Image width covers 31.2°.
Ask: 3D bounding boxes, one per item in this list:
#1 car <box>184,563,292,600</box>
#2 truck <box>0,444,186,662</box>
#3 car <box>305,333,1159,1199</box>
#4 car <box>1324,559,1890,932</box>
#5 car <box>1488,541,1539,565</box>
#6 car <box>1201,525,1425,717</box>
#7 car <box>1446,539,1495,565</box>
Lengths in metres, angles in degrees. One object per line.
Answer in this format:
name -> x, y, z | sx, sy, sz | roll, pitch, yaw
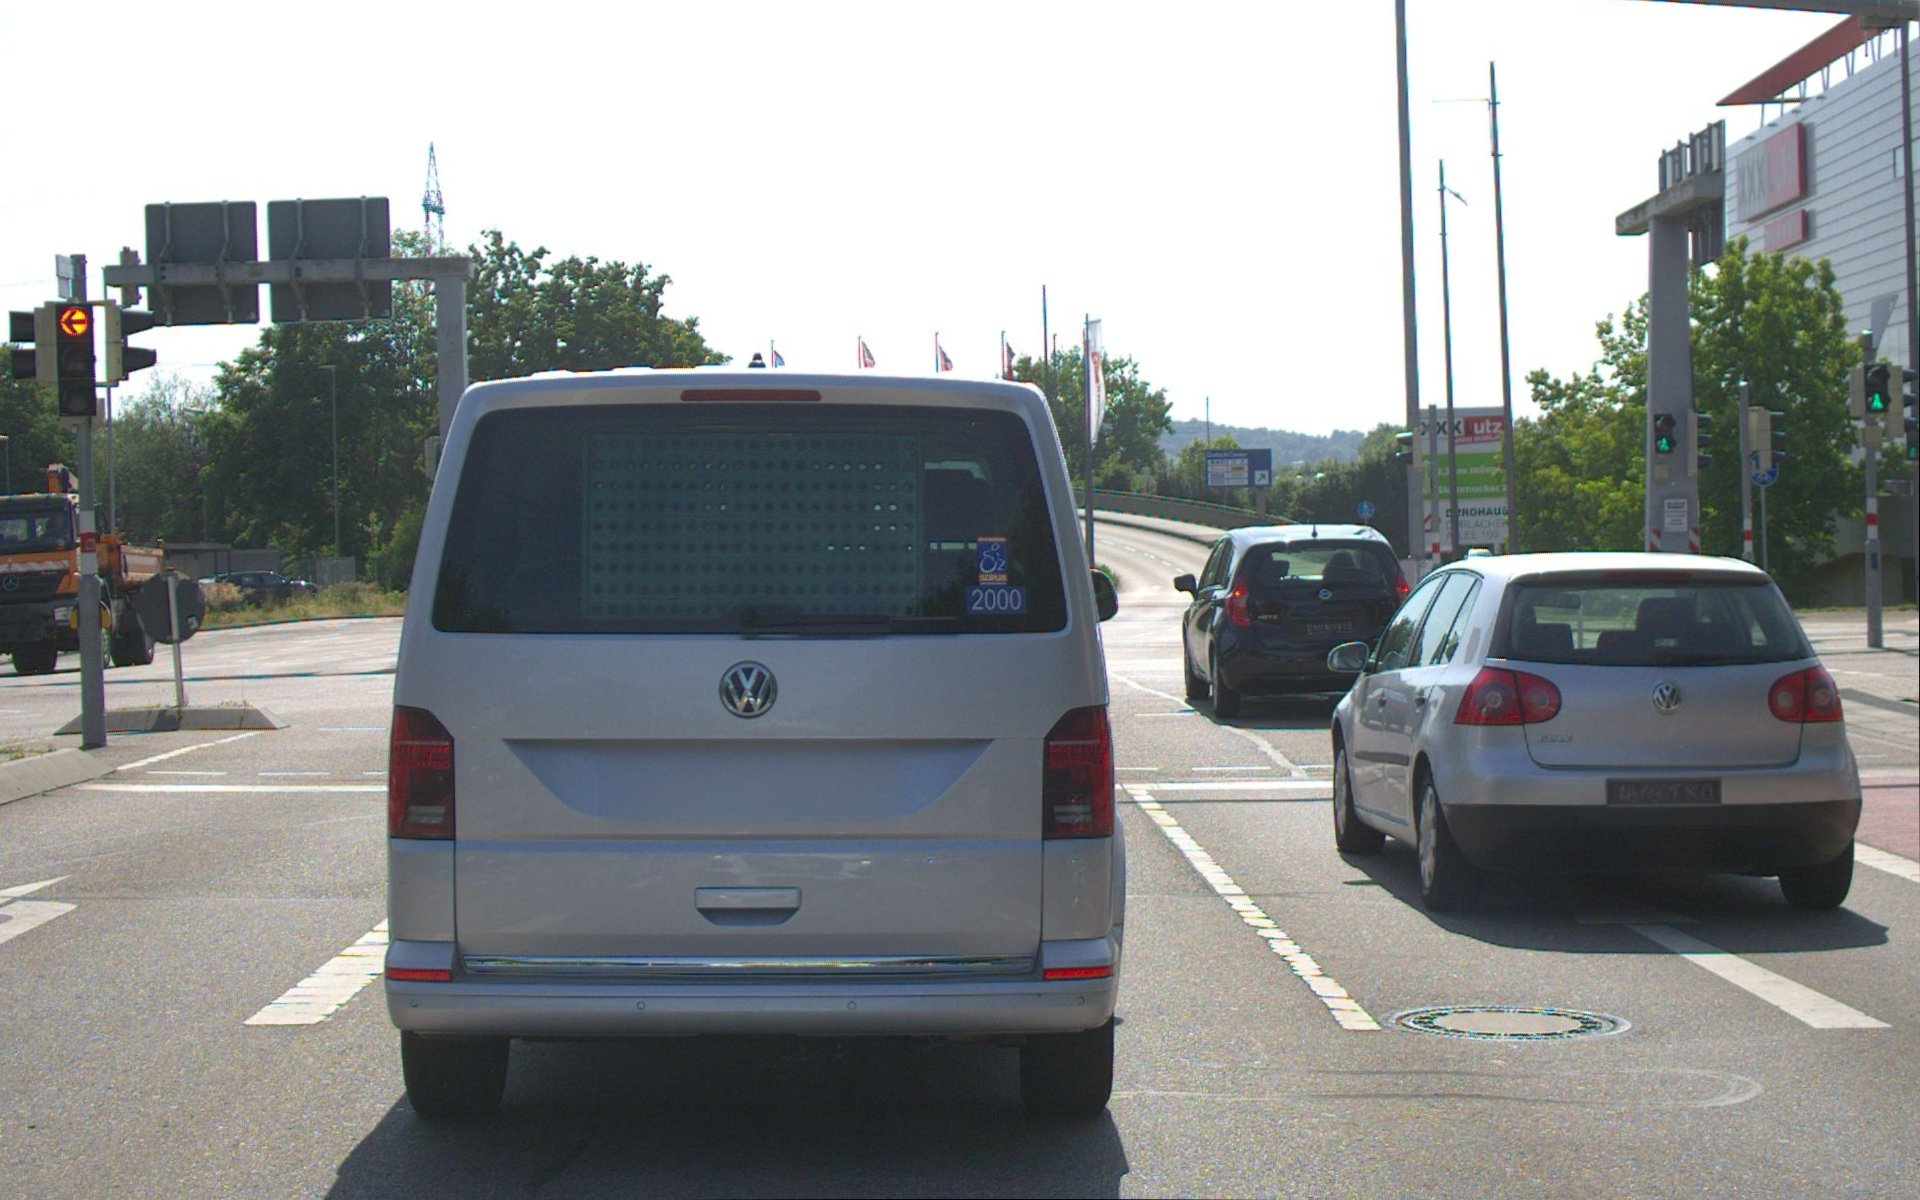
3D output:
car -> -29.502, -0.748, 140.505 | 4.098, 1.415, 1.729 | -1, -1, -19
truck -> -16.277, -0.844, 62.478 | 2.746, 3.667, 7.580 | -2, 1, -1
car -> -0.544, 0.351, 9.882 | 1.917, 1.968, 4.297 | 0, 1, -1
car -> 2.681, 0.536, 15.040 | 1.666, 1.409, 3.683 | 0, 1, -2
car -> 34.719, -2.948, 215.741 | 1.993, 1.415, 4.001 | 1, 0, -9
car -> 2.839, 0.132, 28.236 | 1.531, 1.475, 3.596 | 0, 1, 1
car -> 32.001, -3.013, 215.703 | 1.883, 1.514, 4.001 | 1, 0, -9
